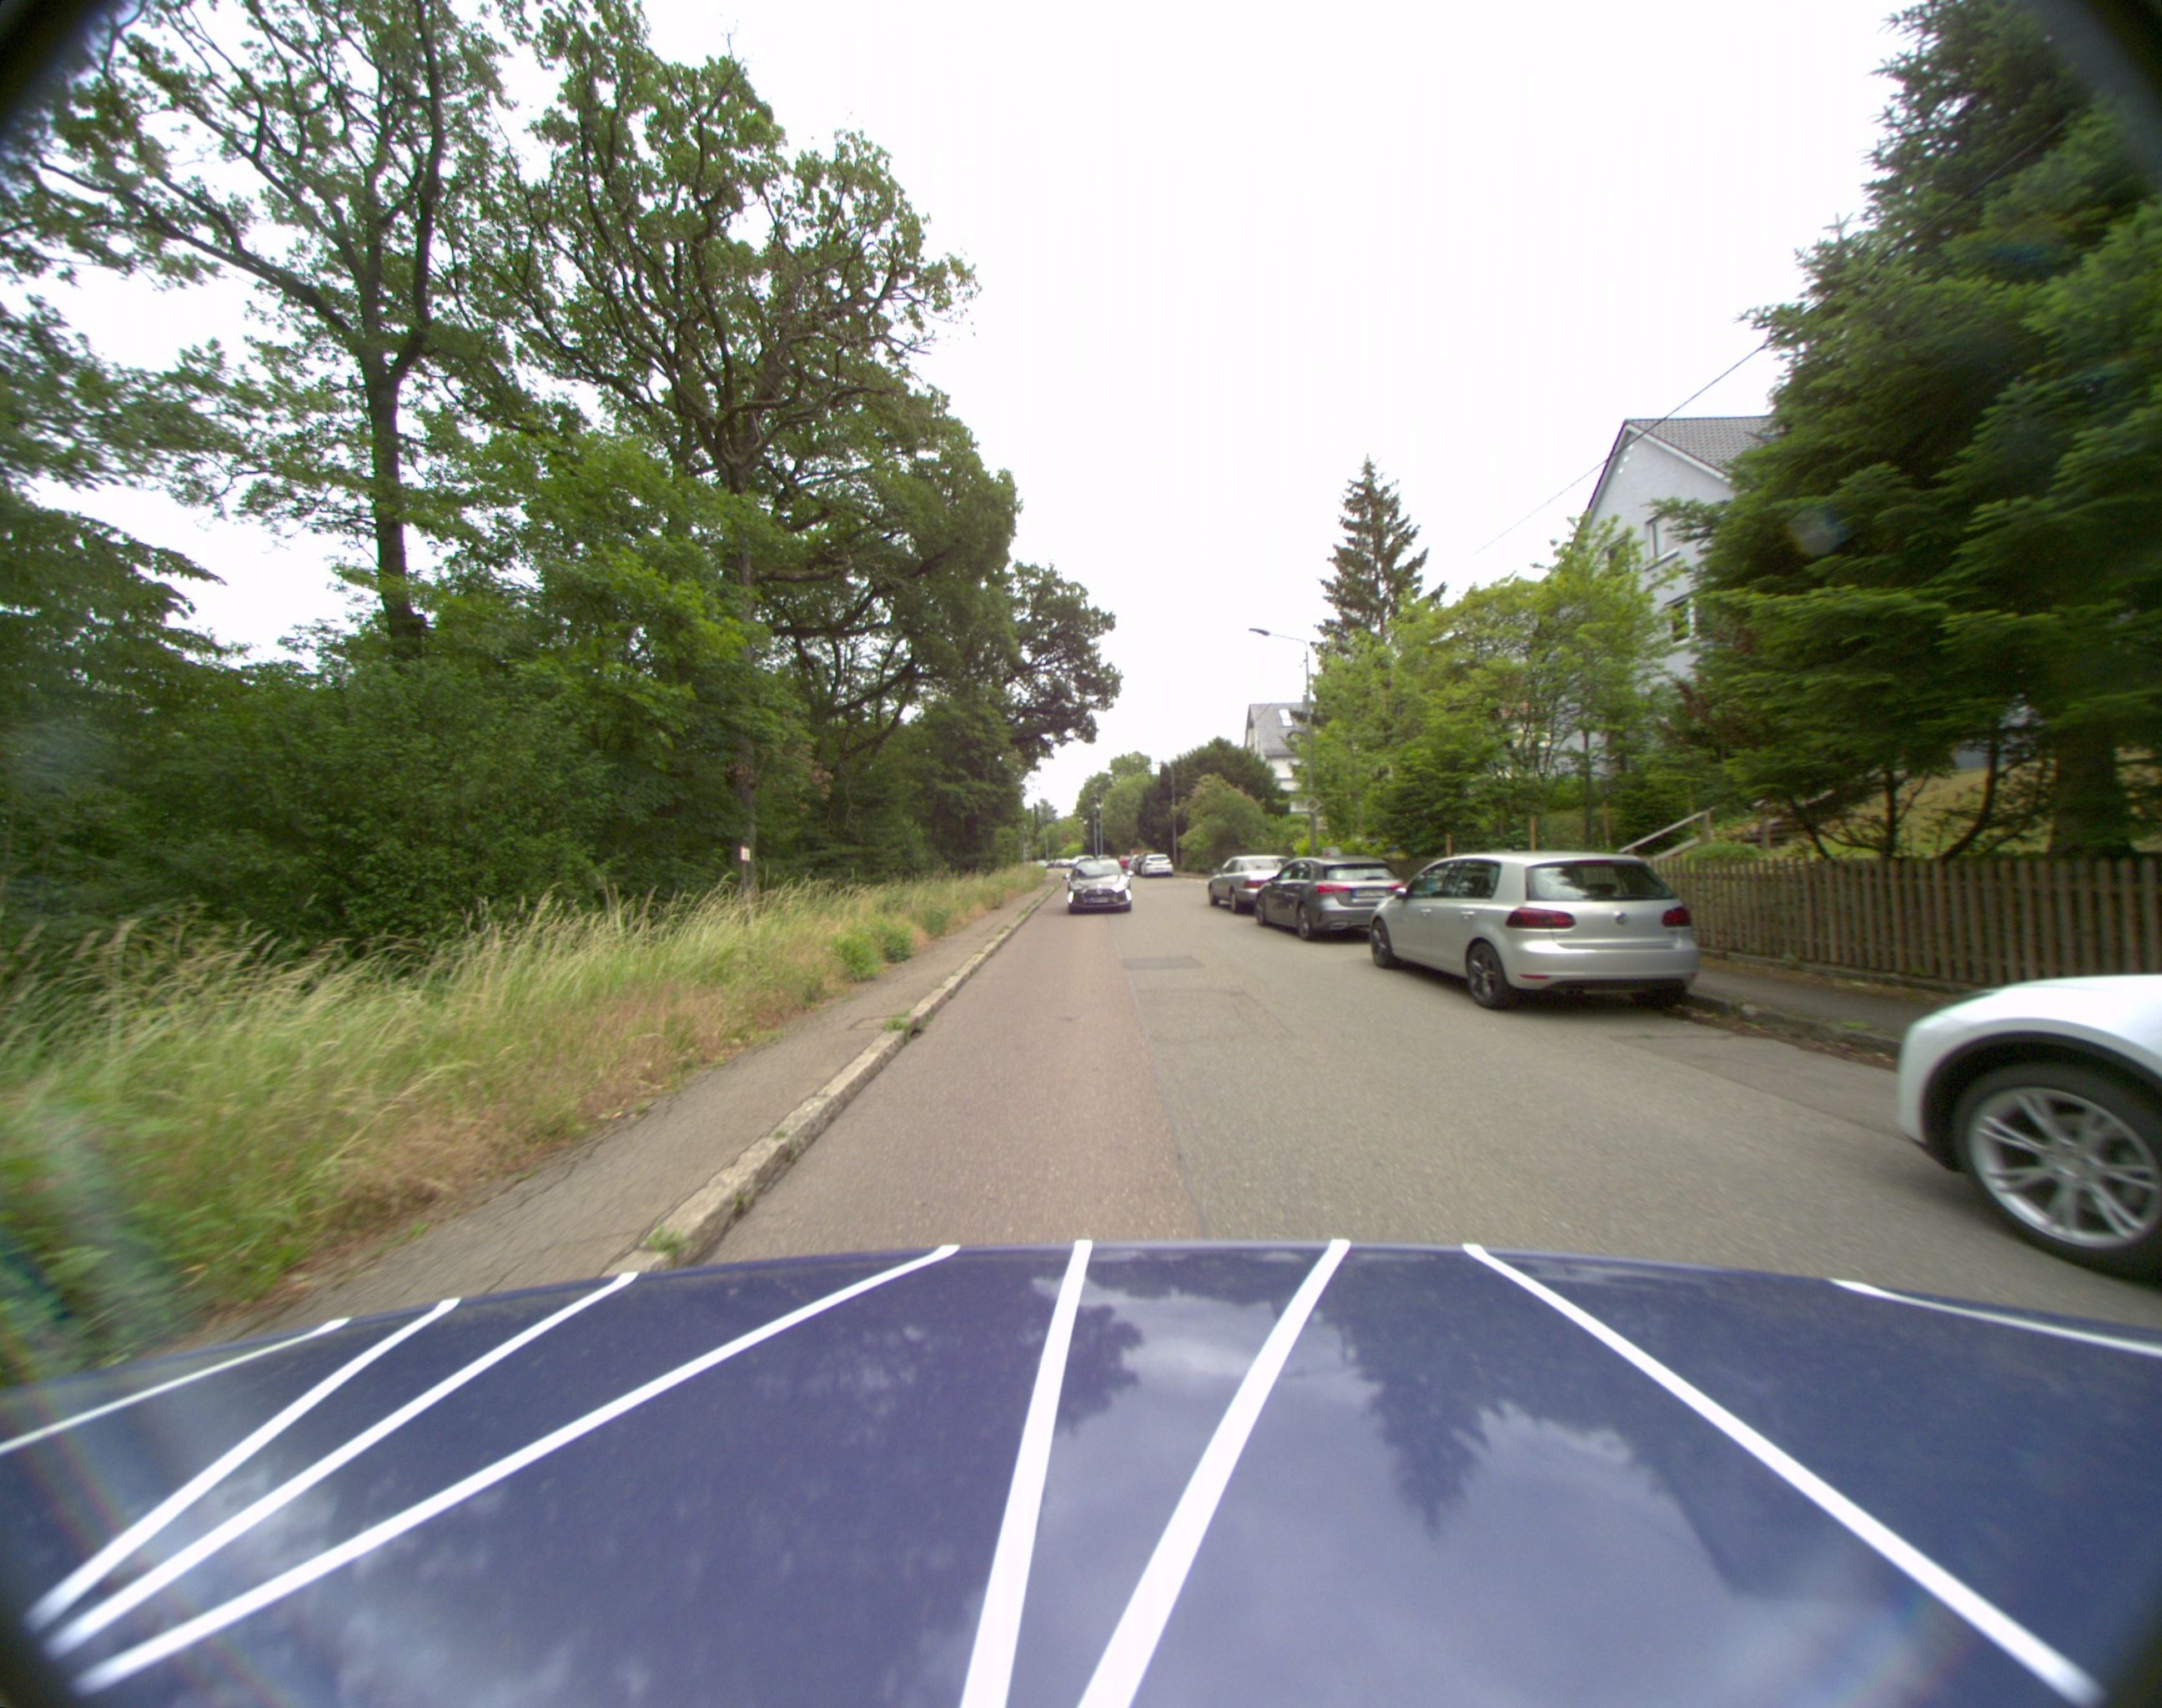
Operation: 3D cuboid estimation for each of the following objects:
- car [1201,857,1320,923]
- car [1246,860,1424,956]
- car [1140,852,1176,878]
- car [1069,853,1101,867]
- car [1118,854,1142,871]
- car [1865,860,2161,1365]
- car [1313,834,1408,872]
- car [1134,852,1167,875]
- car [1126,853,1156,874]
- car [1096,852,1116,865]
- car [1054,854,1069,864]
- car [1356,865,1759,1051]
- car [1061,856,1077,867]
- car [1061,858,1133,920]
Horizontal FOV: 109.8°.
[{"bbox_3d":[4.505,0.834,19.894,1.853,1.431,4.909,-1,0,-1],"label":"car"},{"bbox_3d":[4.462,0.860,14.086,1.739,1.431,4.261,-1,0,-2],"label":"car"},{"bbox_3d":[4.852,0.665,48.281,1.788,1.491,4.014,-3,0,-1],"label":"car"},{"bbox_3d":[0.580,0.813,106.589,1.995,1.678,4.719,-3,0,38],"label":"car"},{"bbox_3d":[4.376,0.736,68.862,1.741,1.431,3.786,-3,0,-2],"label":"car"},{"bbox_3d":[4.349,0.805,0.936,1.921,1.553,4.603,0,0,-2],"label":"car"},{"bbox_3d":[13.746,-0.044,37.535,3.996,1.474,1.722,-5,-1,5],"label":"car"},{"bbox_3d":[4.805,0.625,53.106,1.788,1.491,4.014,-3,0,-1],"label":"car"},{"bbox_3d":[4.583,0.718,58.394,1.788,1.431,4.323,-3,0,-2],"label":"car"},{"bbox_3d":[2.904,0.529,88.334,1.765,1.441,4.041,-3,0,-6],"label":"car"},{"bbox_3d":[-3.458,0.958,135.039,2.000,1.678,4.706,-3,0,-10],"label":"car"},{"bbox_3d":[4.635,0.880,8.269,1.839,1.431,4.116,-1,0,1],"label":"car"},{"bbox_3d":[-2.041,1.182,126.147,2.000,1.678,4.707,-3,0,-10],"label":"car"},{"bbox_3d":[0.398,0.922,21.684,1.788,1.491,4.014,-3,0,-1],"label":"car"}]
